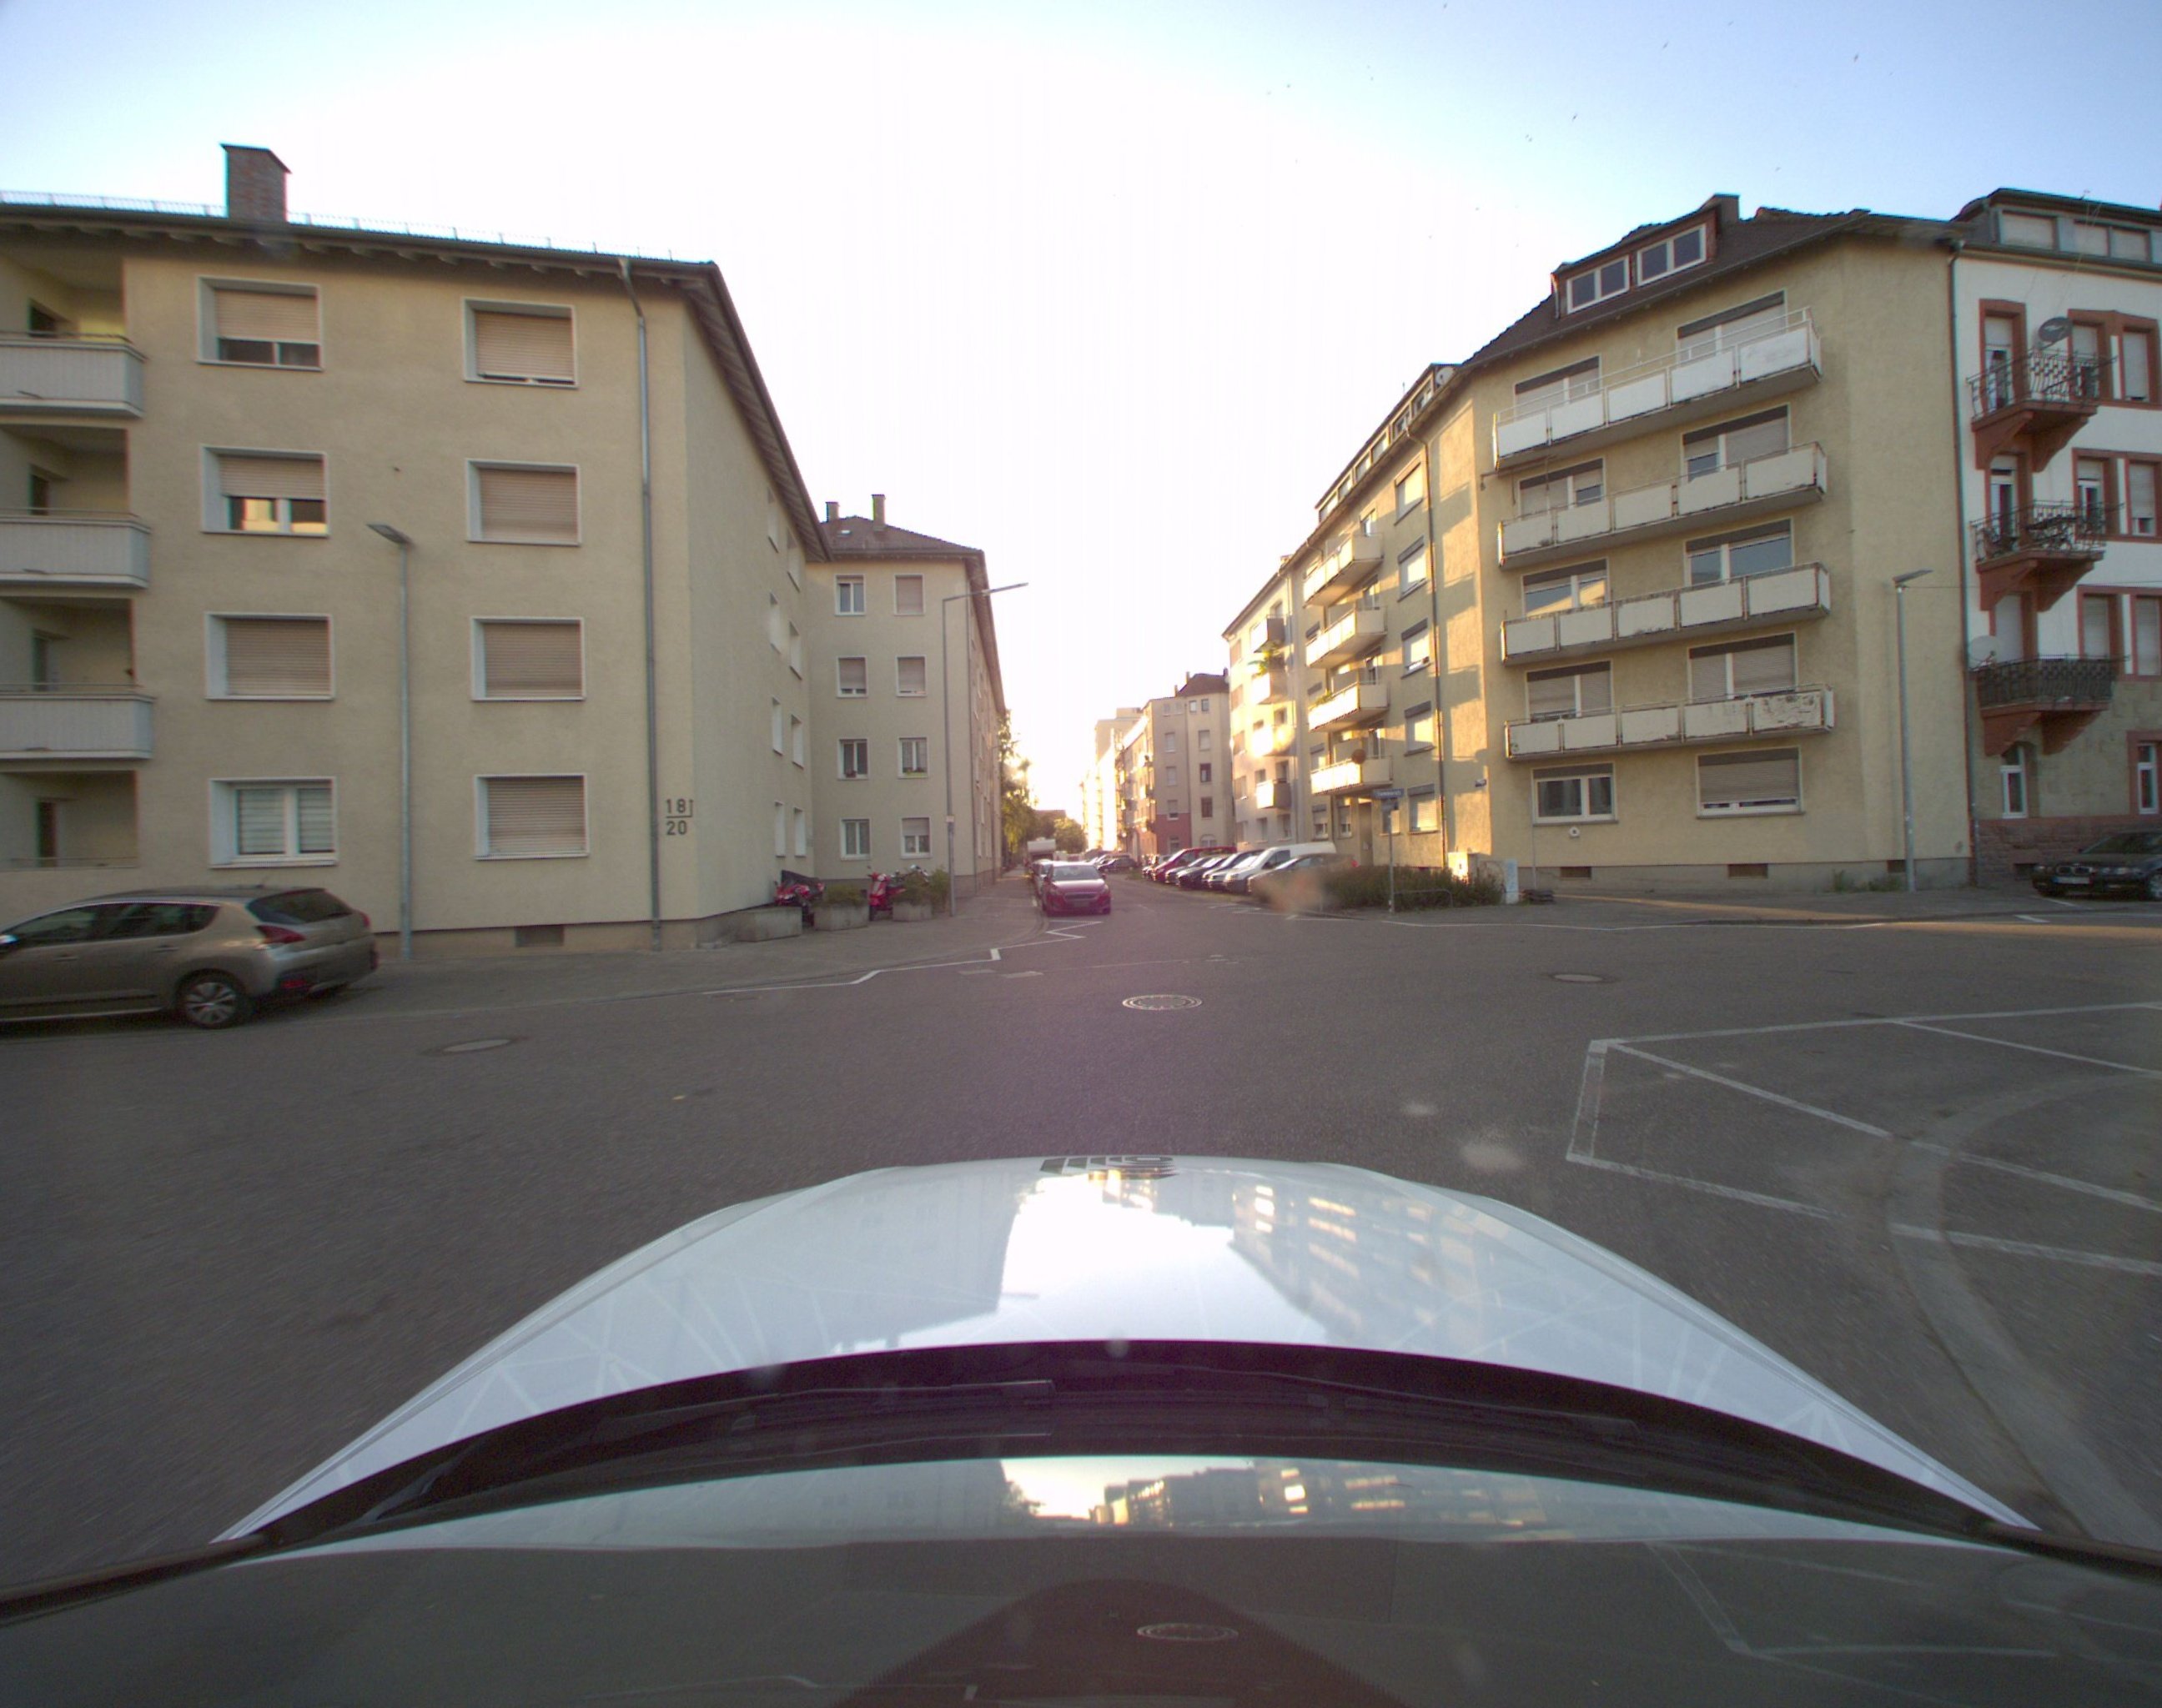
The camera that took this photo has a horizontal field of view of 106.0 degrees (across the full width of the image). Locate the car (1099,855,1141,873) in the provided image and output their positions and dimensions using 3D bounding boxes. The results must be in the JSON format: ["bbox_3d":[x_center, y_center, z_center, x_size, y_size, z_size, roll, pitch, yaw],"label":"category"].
[{"bbox_3d":[3.905,0.970,81.580,3.980,1.530,1.656,-4,0,-5],"label":"car"}]

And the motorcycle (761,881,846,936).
[{"bbox_3d":[-6.268,1.206,18.528,0.717,1.079,2.090,-3,0,17],"label":"motorcycle"}]

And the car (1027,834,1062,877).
[{"bbox_3d":[-3.119,0.147,69.064,2.614,3.268,7.686,-4,0,-3],"label":"car"}]

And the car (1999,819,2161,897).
[{"bbox_3d":[21.866,0.028,16.830,3.985,1.371,1.995,-3,2,-8],"label":"car"}]

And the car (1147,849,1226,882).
[{"bbox_3d":[6.254,0.687,48.440,4.317,1.637,1.815,-4,-1,-5],"label":"car"}]

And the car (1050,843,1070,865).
[{"bbox_3d":[-2.815,-0.018,107.669,2.126,2.717,4.824,-4,0,-5],"label":"car"}]

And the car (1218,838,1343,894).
[{"bbox_3d":[7.580,0.458,31.167,4.271,1.860,1.739,-3,-1,-4],"label":"car"}]

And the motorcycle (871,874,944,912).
[{"bbox_3d":[-5.464,1.228,25.661,2.112,1.105,0.561,-2,-1,7],"label":"motorcycle"}]

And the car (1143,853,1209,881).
[{"bbox_3d":[5.908,0.801,50.893,3.806,1.428,1.632,-4,-1,-5],"label":"car"}]

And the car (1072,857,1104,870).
[{"bbox_3d":[0.883,1.259,107.860,3.980,1.530,1.656,-4,0,-5],"label":"car"}]

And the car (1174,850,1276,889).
[{"bbox_3d":[6.598,0.706,37.661,4.300,1.449,1.652,-4,-1,-4],"label":"car"}]

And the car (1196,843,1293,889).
[{"bbox_3d":[7.116,0.529,35.604,3.784,1.695,1.653,-4,-1,-4],"label":"car"}]

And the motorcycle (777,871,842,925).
[{"bbox_3d":[-6.885,1.088,20.756,0.719,1.264,2.085,-2,0,7],"label":"motorcycle"}]

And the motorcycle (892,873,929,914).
[{"bbox_3d":[-4.900,1.108,23.509,0.680,1.079,2.032,-2,0,-3],"label":"motorcycle"}]

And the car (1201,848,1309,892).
[{"bbox_3d":[7.037,0.645,33.168,3.948,1.522,1.703,-3,0,-4],"label":"car"}]

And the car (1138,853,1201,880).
[{"bbox_3d":[5.803,0.815,53.406,3.806,1.428,1.632,-4,-1,-5],"label":"car"}]

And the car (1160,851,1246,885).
[{"bbox_3d":[6.412,0.739,43.040,4.138,1.471,1.633,-4,-1,-5],"label":"car"}]

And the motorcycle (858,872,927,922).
[{"bbox_3d":[-4.847,1.080,21.105,0.683,1.160,2.044,-3,-1,20],"label":"motorcycle"}]

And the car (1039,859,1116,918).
[{"bbox_3d":[-0.195,0.951,23.934,1.842,1.473,4.070,-3,0,-5],"label":"car"}]

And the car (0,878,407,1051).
[{"bbox_3d":[-11.319,1.293,10.115,4.006,1.617,1.875,-3,4,-9],"label":"car"}]

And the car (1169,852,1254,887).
[{"bbox_3d":[6.515,0.767,40.844,3.870,1.416,1.633,-4,-1,-6],"label":"car"}]

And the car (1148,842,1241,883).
[{"bbox_3d":[6.330,0.493,45.575,4.715,1.909,2.055,-4,-1,-5],"label":"car"}]

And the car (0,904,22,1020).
[{"bbox_3d":[-16.073,1.575,9.565,4.012,1.500,1.873,-3,4,-14],"label":"car"}]

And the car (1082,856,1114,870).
[{"bbox_3d":[2.194,1.168,105.465,3.980,1.530,1.656,-4,0,-5],"label":"car"}]

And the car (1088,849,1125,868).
[{"bbox_3d":[2.991,0.555,94.794,3.985,2.013,1.994,-3,-1,-8],"label":"car"}]

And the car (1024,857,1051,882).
[{"bbox_3d":[-3.114,1.100,57.310,1.650,1.564,3.868,-4,0,-5],"label":"car"}]

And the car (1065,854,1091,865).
[{"bbox_3d":[-0.422,0.844,130.490,3.980,1.530,1.656,-4,0,-5],"label":"car"}]

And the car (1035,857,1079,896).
[{"bbox_3d":[-1.086,0.944,35.276,1.613,1.473,3.498,-4,0,-5],"label":"car"}]

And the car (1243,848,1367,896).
[{"bbox_3d":[7.948,0.622,29.055,3.865,1.492,1.739,-3,-1,-4],"label":"car"}]

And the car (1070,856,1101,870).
[{"bbox_3d":[0.621,1.228,109.791,3.980,1.530,1.656,-4,0,-5],"label":"car"}]

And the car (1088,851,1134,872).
[{"bbox_3d":[3.233,0.852,88.775,4.805,1.967,1.736,-4,0,-5],"label":"car"}]
